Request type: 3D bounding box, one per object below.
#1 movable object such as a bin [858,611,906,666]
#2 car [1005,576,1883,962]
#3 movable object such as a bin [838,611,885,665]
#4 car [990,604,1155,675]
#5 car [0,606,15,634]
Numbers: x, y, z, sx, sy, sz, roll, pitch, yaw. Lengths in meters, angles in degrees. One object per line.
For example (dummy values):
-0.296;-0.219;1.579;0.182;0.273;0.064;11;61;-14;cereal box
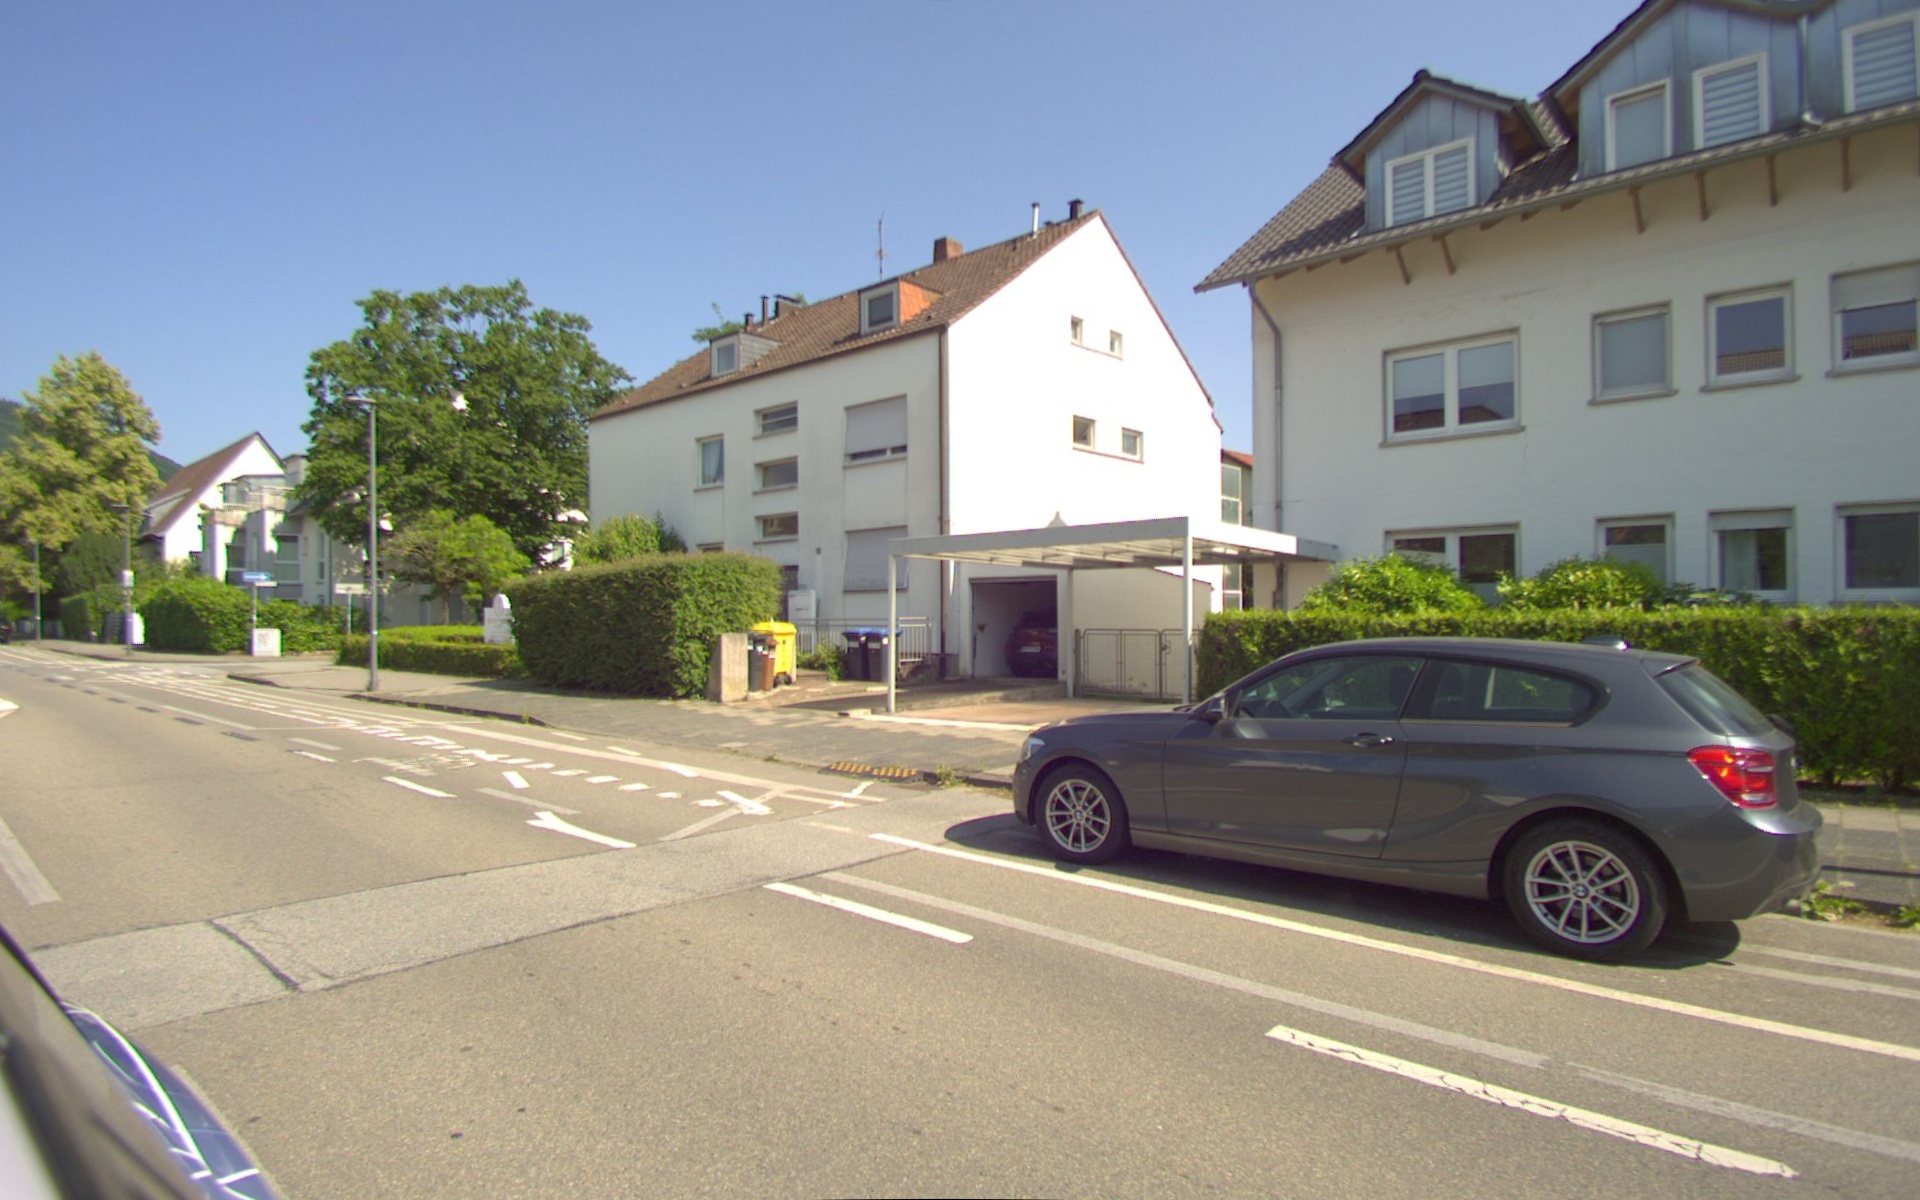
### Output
-1.608;0.784;20.868;0.706;1.100;0.694;0;-1;38;movable object such as a bin
2.442;0.690;5.845;4.151;1.451;1.767;-1;-3;40;car
-2.071;0.787;21.244;0.706;1.100;0.694;0;-1;38;movable object such as a bin
2.582;0.827;22.556;1.898;1.426;3.949;-1;-1;38;car
-57.846;1.160;60.253;4.445;1.623;1.832;-1;-1;41;car
